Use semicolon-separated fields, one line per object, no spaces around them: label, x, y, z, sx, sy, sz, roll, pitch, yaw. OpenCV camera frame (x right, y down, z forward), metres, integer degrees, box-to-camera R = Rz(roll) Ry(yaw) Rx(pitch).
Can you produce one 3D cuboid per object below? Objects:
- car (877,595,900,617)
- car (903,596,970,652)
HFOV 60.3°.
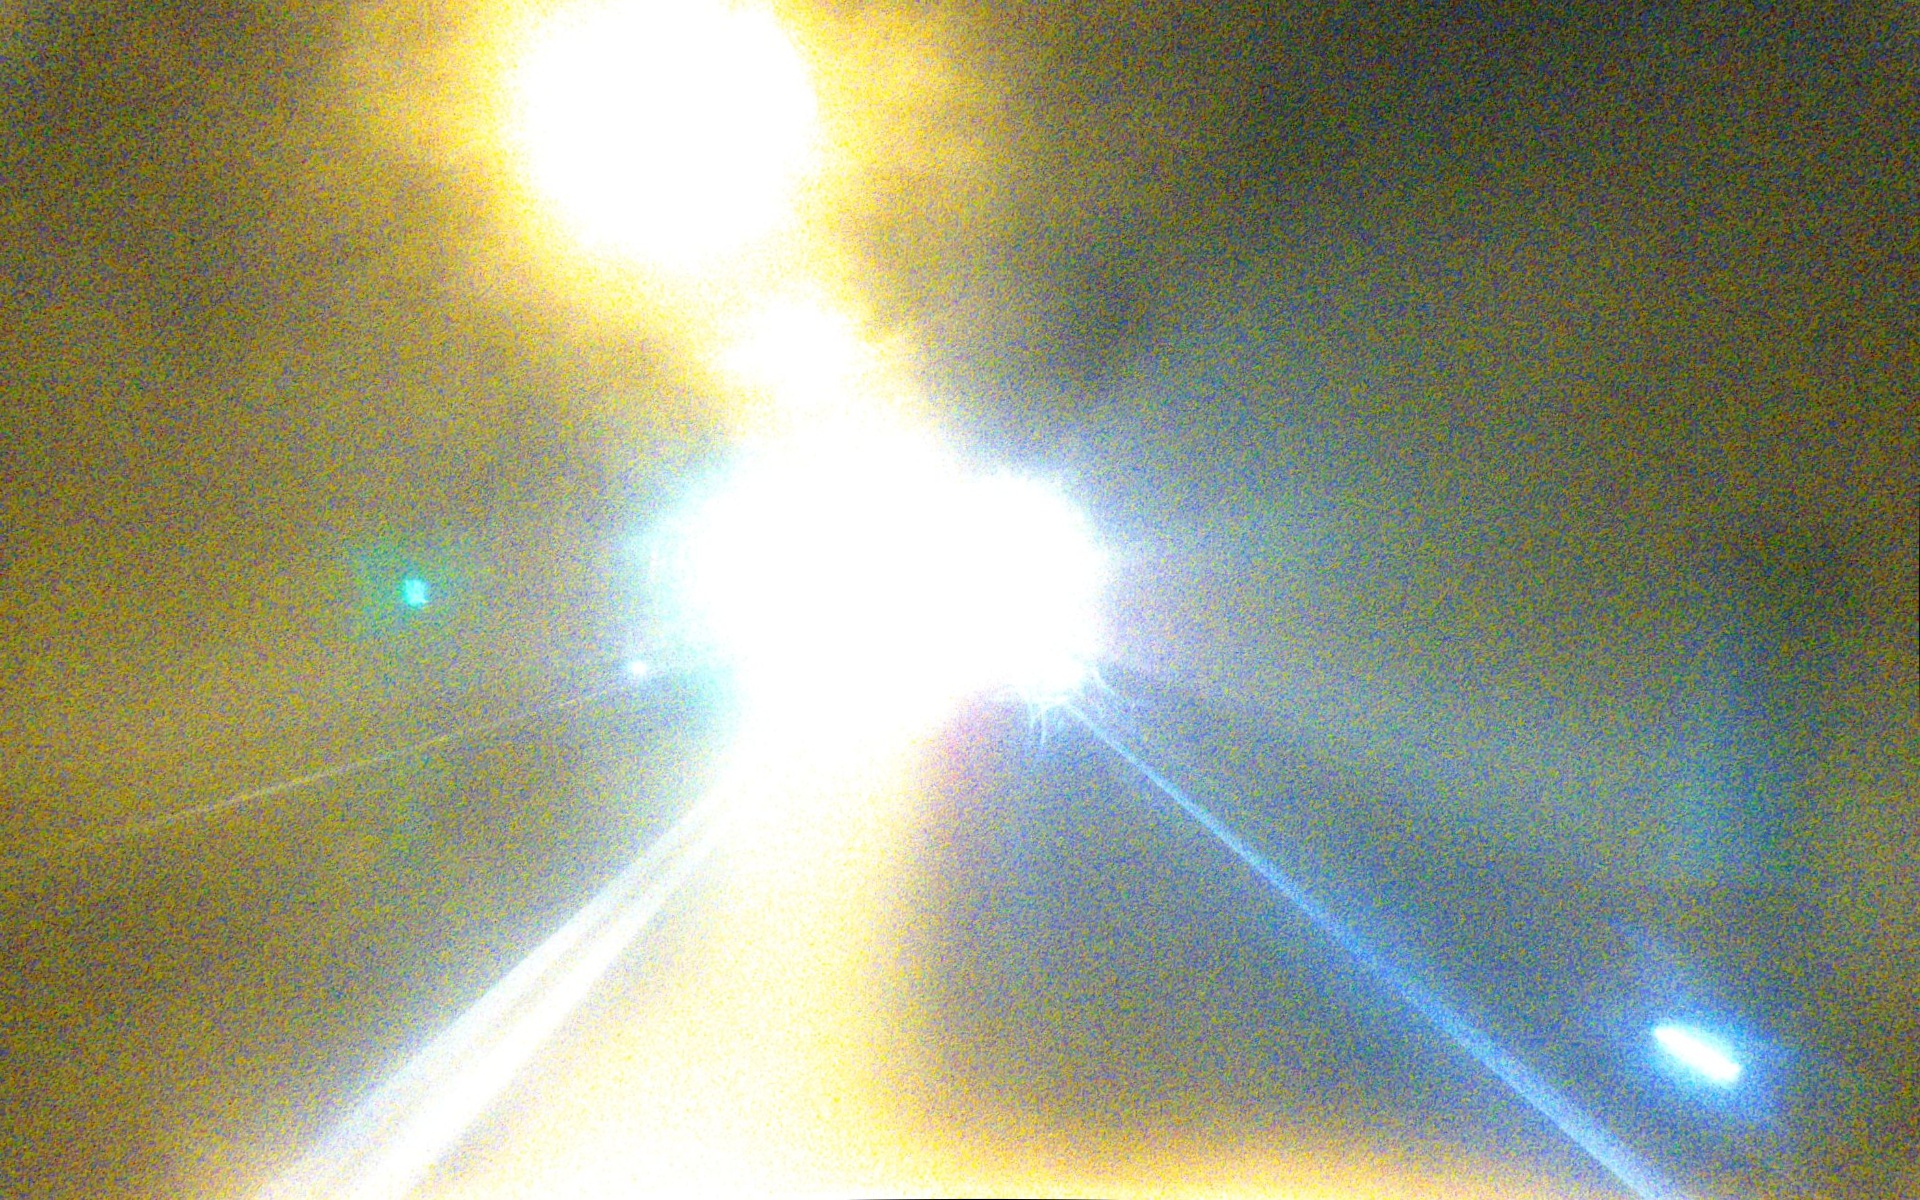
car;-5.215;0.443;121.101;1.656;1.531;3.743;0;0;-2
car;-0.771;0.744;52.434;2.047;1.691;3.999;0;0;-2
